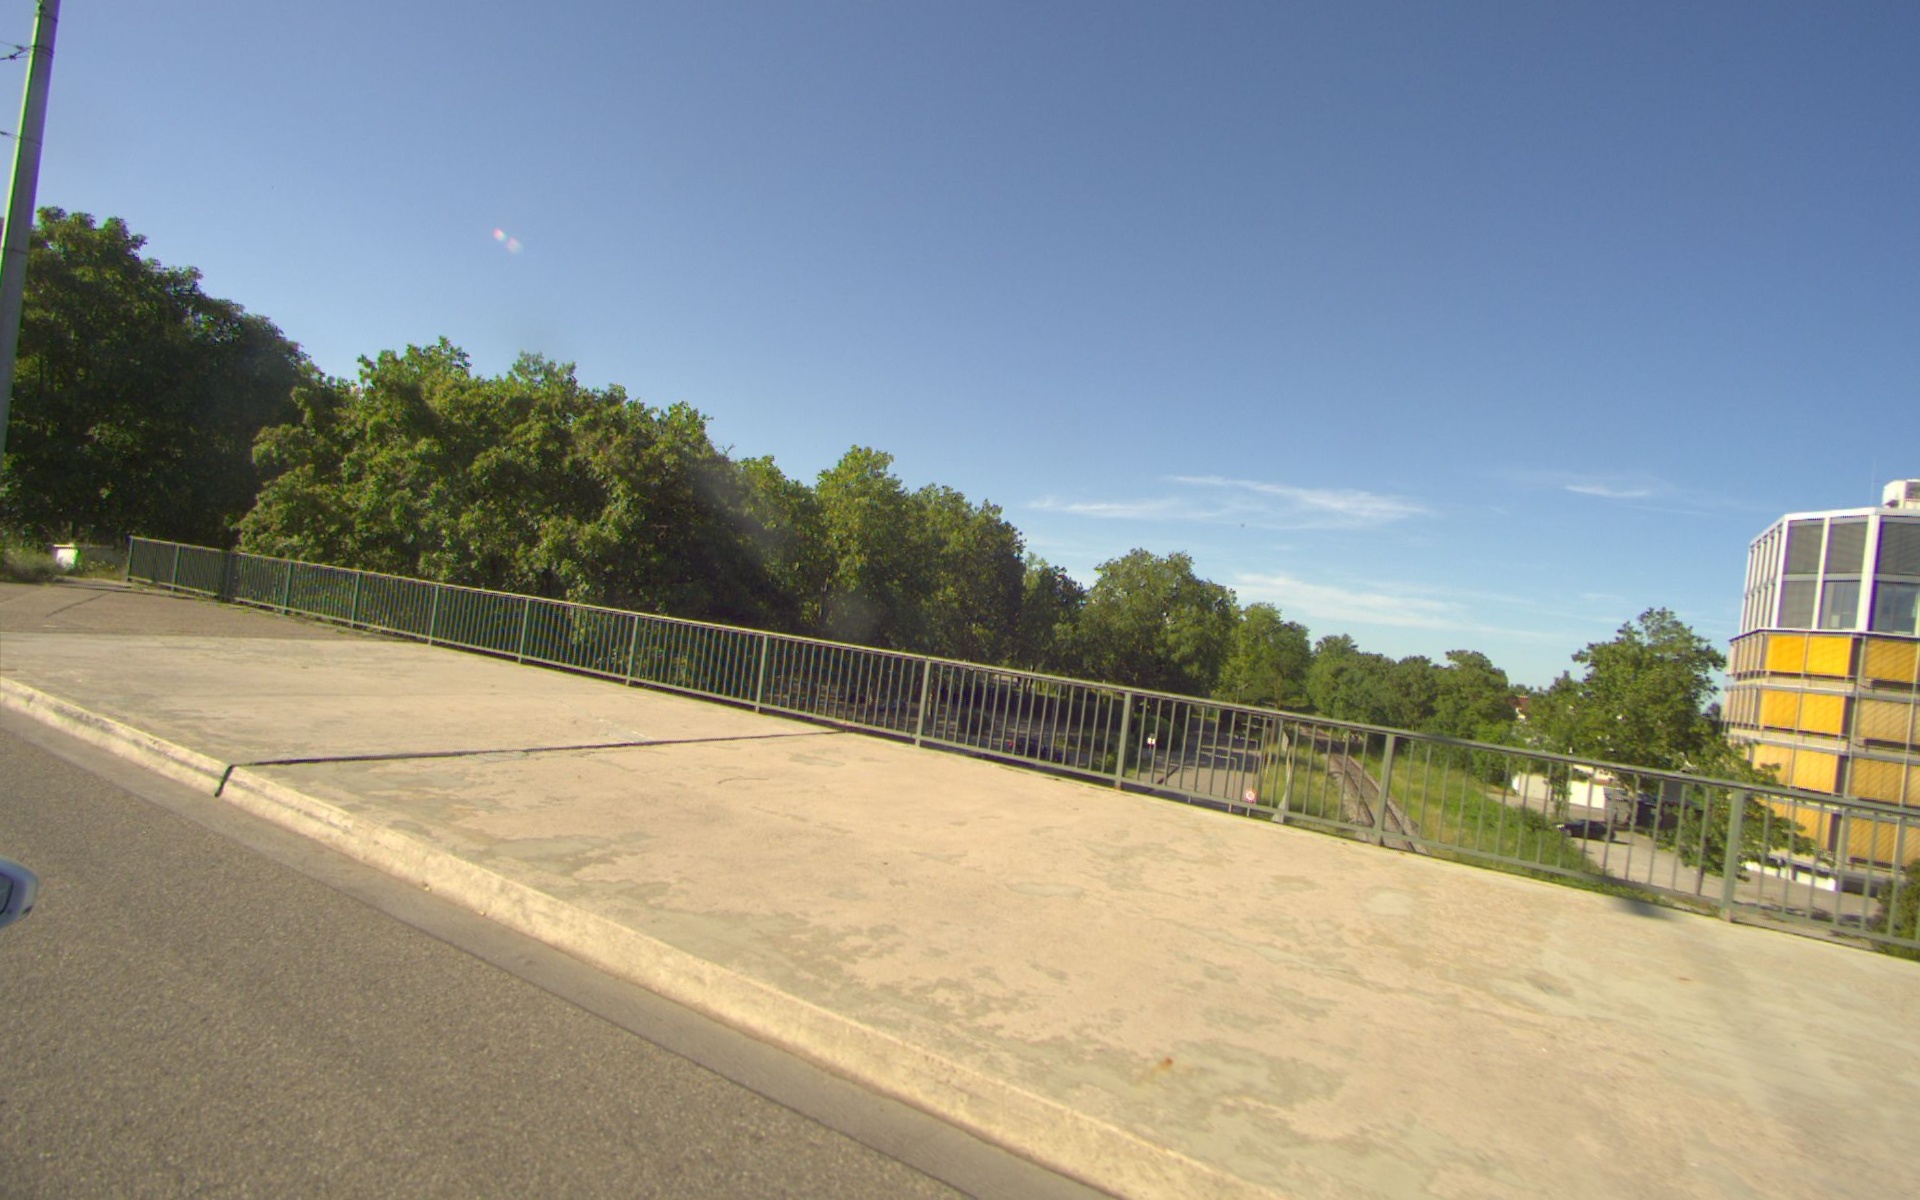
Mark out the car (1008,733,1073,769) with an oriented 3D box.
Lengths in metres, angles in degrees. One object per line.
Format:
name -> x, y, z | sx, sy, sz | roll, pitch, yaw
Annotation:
car -> 5.620, 10.500, 70.006 | 3.927, 1.658, 1.846 | 9, -2, 23

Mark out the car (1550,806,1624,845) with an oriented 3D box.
car -> 43.562, 15.681, 70.002 | 3.927, 1.658, 1.783 | 9, -2, 23
